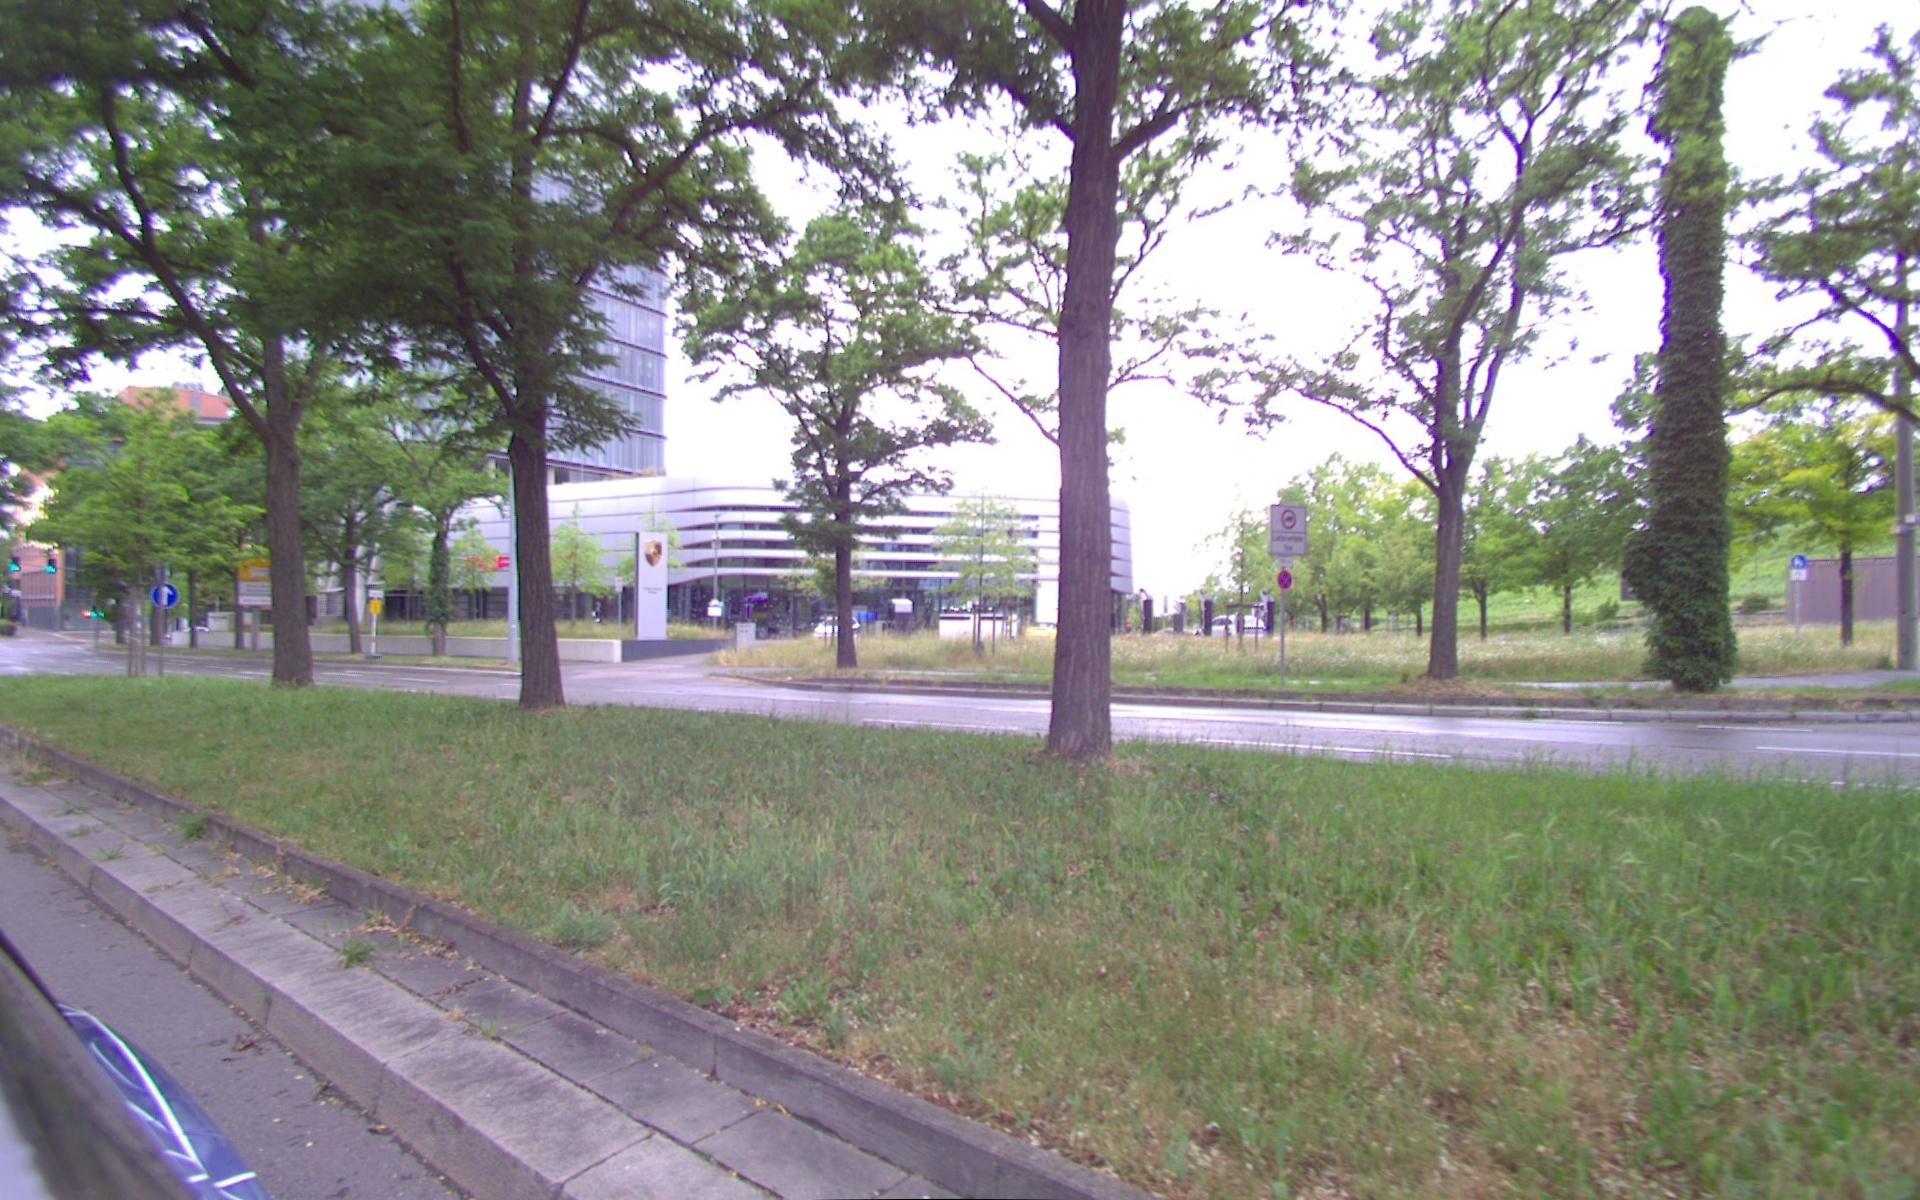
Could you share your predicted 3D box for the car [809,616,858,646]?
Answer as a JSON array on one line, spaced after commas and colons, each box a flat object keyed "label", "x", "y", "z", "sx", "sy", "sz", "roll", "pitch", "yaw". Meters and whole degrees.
[{"label": "car", "x": -6.948, "y": 1.685, "z": 56.099, "sx": 1.757, "sy": 1.423, "sz": 3.992, "roll": -1, "pitch": 1, "yaw": 7}]

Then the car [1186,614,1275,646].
[{"label": "car", "x": 12.368, "y": 1.341, "z": 46.469, "sx": 1.592, "sy": 1.254, "sz": 4.012, "roll": -2, "pitch": 1, "yaw": -30}]

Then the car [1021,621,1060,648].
[{"label": "car", "x": 4.724, "y": 1.979, "z": 58.879, "sx": 1.605, "sy": 1.333, "sz": 3.981, "roll": -1, "pitch": 1, "yaw": 15}]
